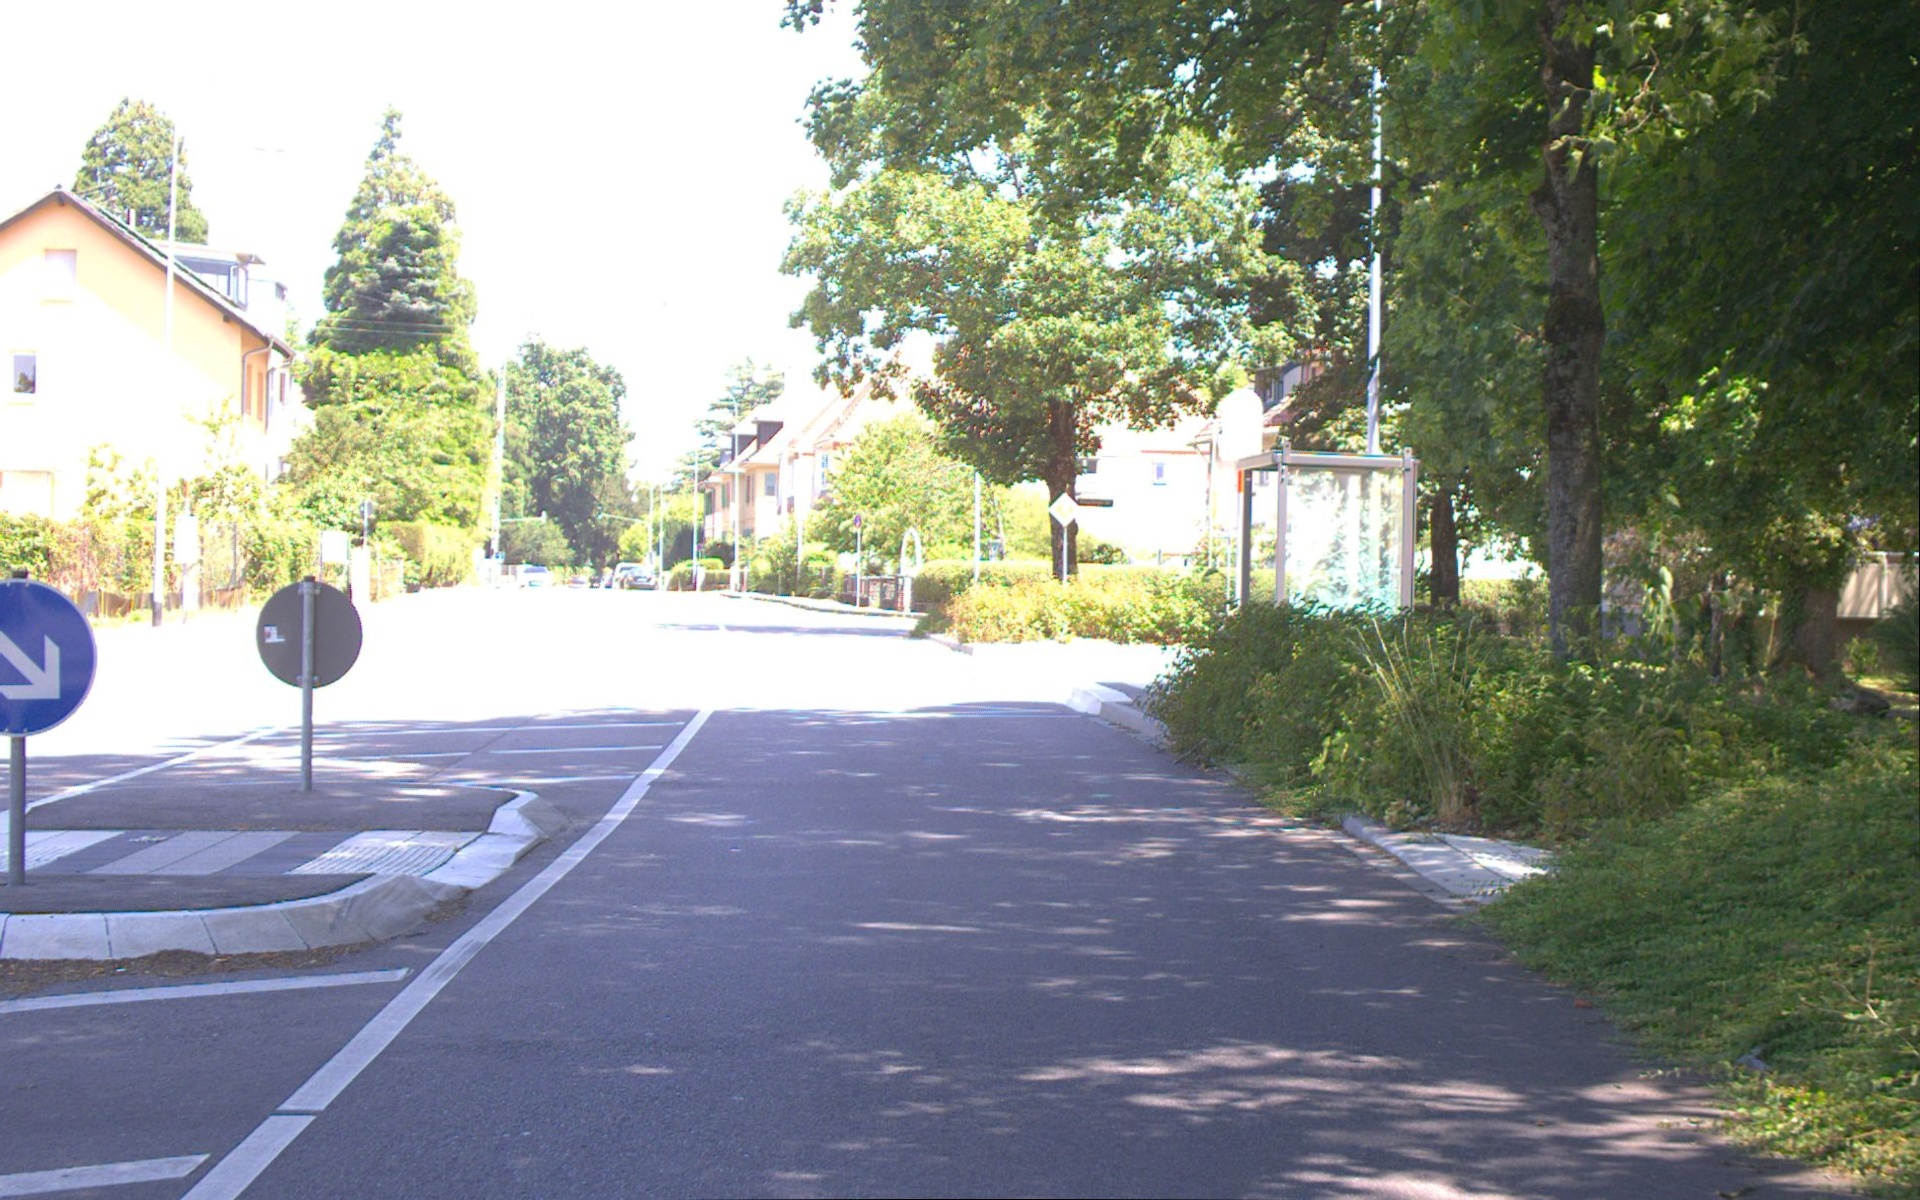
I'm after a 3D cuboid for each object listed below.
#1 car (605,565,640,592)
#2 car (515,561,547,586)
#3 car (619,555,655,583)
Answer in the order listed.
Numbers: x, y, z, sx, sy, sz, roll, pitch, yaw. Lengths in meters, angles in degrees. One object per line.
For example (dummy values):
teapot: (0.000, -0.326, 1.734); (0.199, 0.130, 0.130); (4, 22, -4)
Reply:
car: (-19.400, -1.225, 197.503); (1.692, 1.414, 4.552); (2, -1, -9)
car: (-23.913, -1.469, 191.754); (1.680, 1.368, 4.207); (0, 1, -6)
car: (-17.695, -1.688, 188.200); (1.692, 1.414, 4.552); (2, -1, -9)
